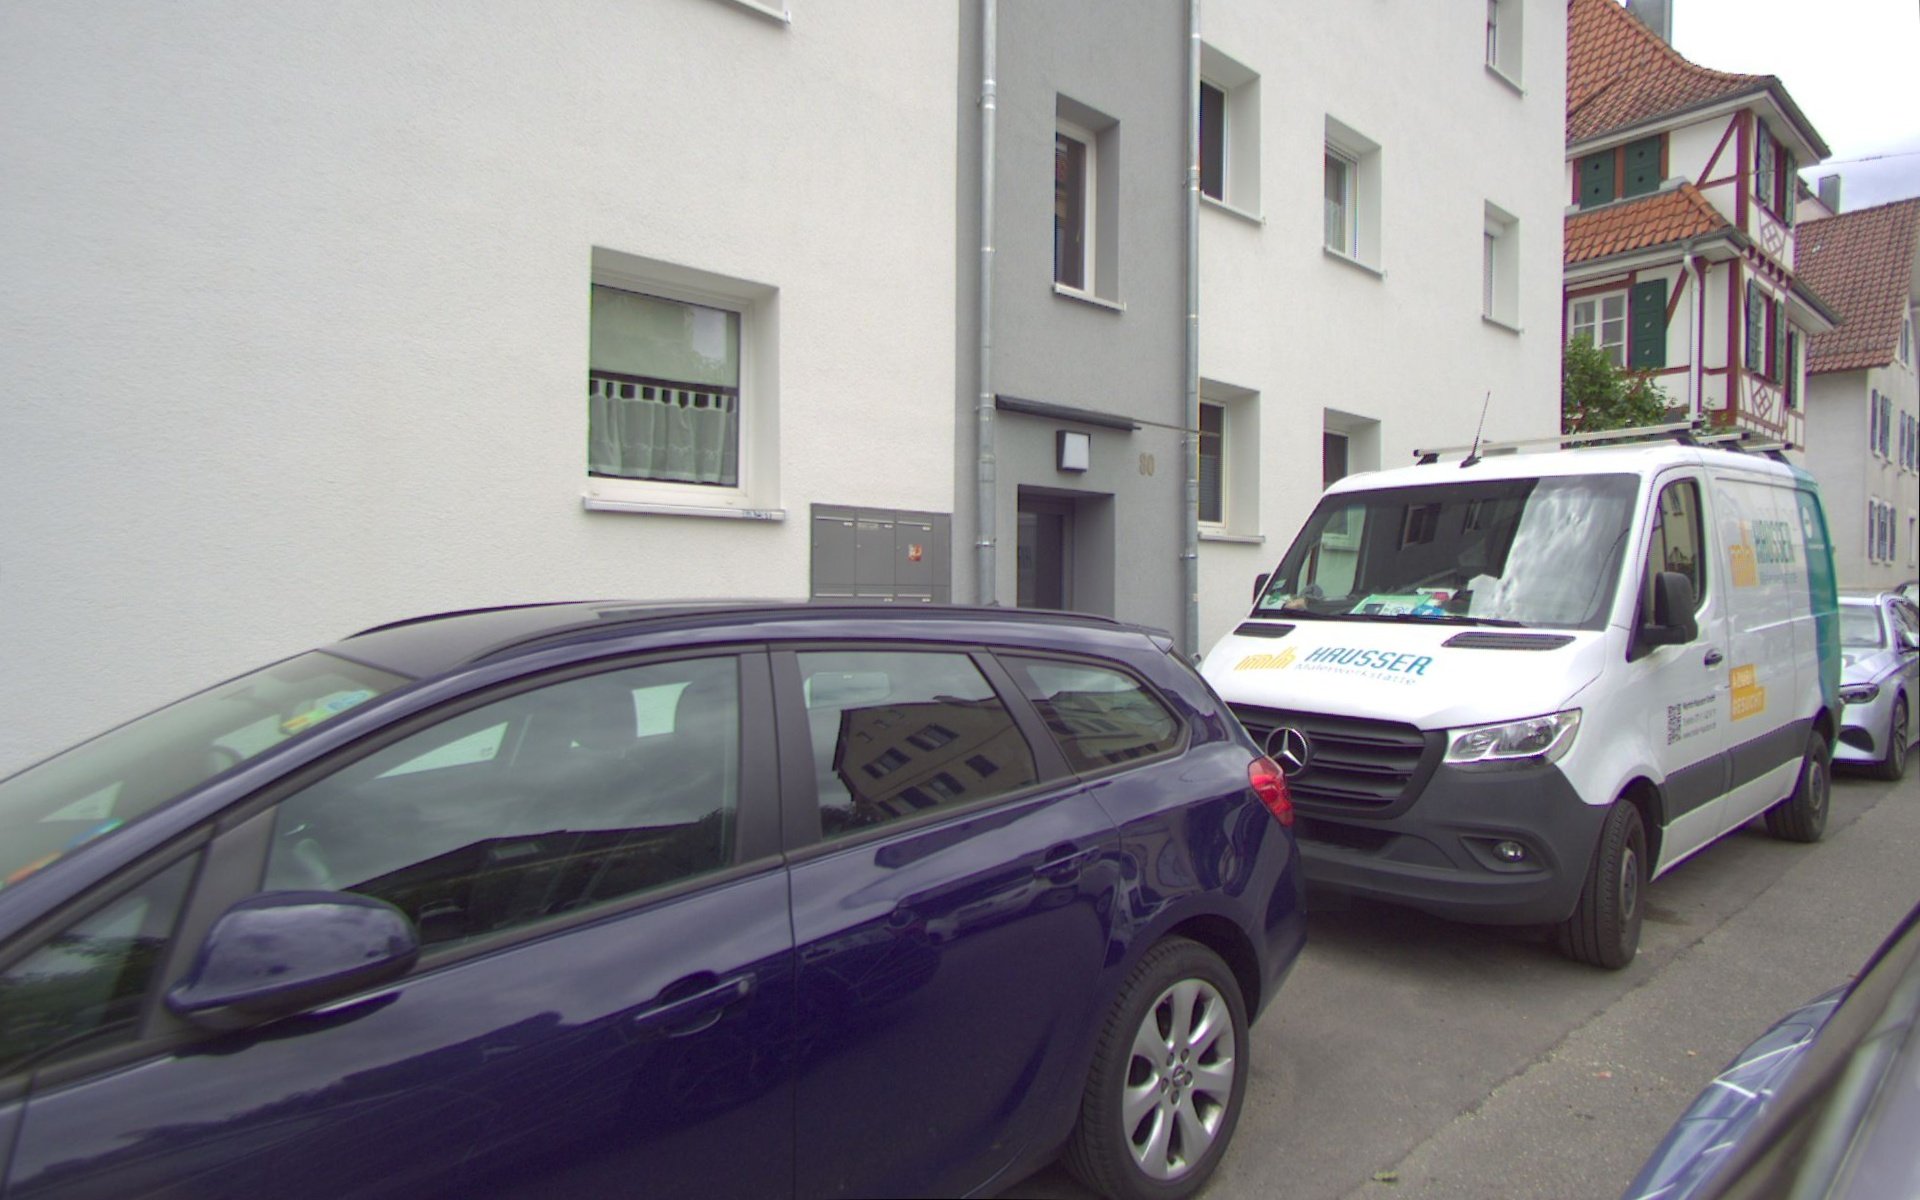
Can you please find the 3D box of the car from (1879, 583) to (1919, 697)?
[{"bbox_3d":[16.467,0.624,16.508,3.931,1.742,1.779,0,0,-41],"label":"car"}]

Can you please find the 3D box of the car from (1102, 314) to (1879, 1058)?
[{"bbox_3d":[3.331,0.205,5.748,5.198,2.452,1.998,-2,2,-39],"label":"car"}]

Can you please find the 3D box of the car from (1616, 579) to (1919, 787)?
[{"bbox_3d":[7.986,0.575,9.474,4.304,1.463,1.829,-2,1,-39],"label":"car"}]

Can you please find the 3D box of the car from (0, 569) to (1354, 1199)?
[{"bbox_3d":[-0.991,0.704,2.328,4.212,1.504,1.821,0,1,-41],"label":"car"}]

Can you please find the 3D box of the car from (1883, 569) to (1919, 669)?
[{"bbox_3d":[16.608,0.249,16.629,3.953,1.508,1.608,-2,1,-40],"label":"car"}]
